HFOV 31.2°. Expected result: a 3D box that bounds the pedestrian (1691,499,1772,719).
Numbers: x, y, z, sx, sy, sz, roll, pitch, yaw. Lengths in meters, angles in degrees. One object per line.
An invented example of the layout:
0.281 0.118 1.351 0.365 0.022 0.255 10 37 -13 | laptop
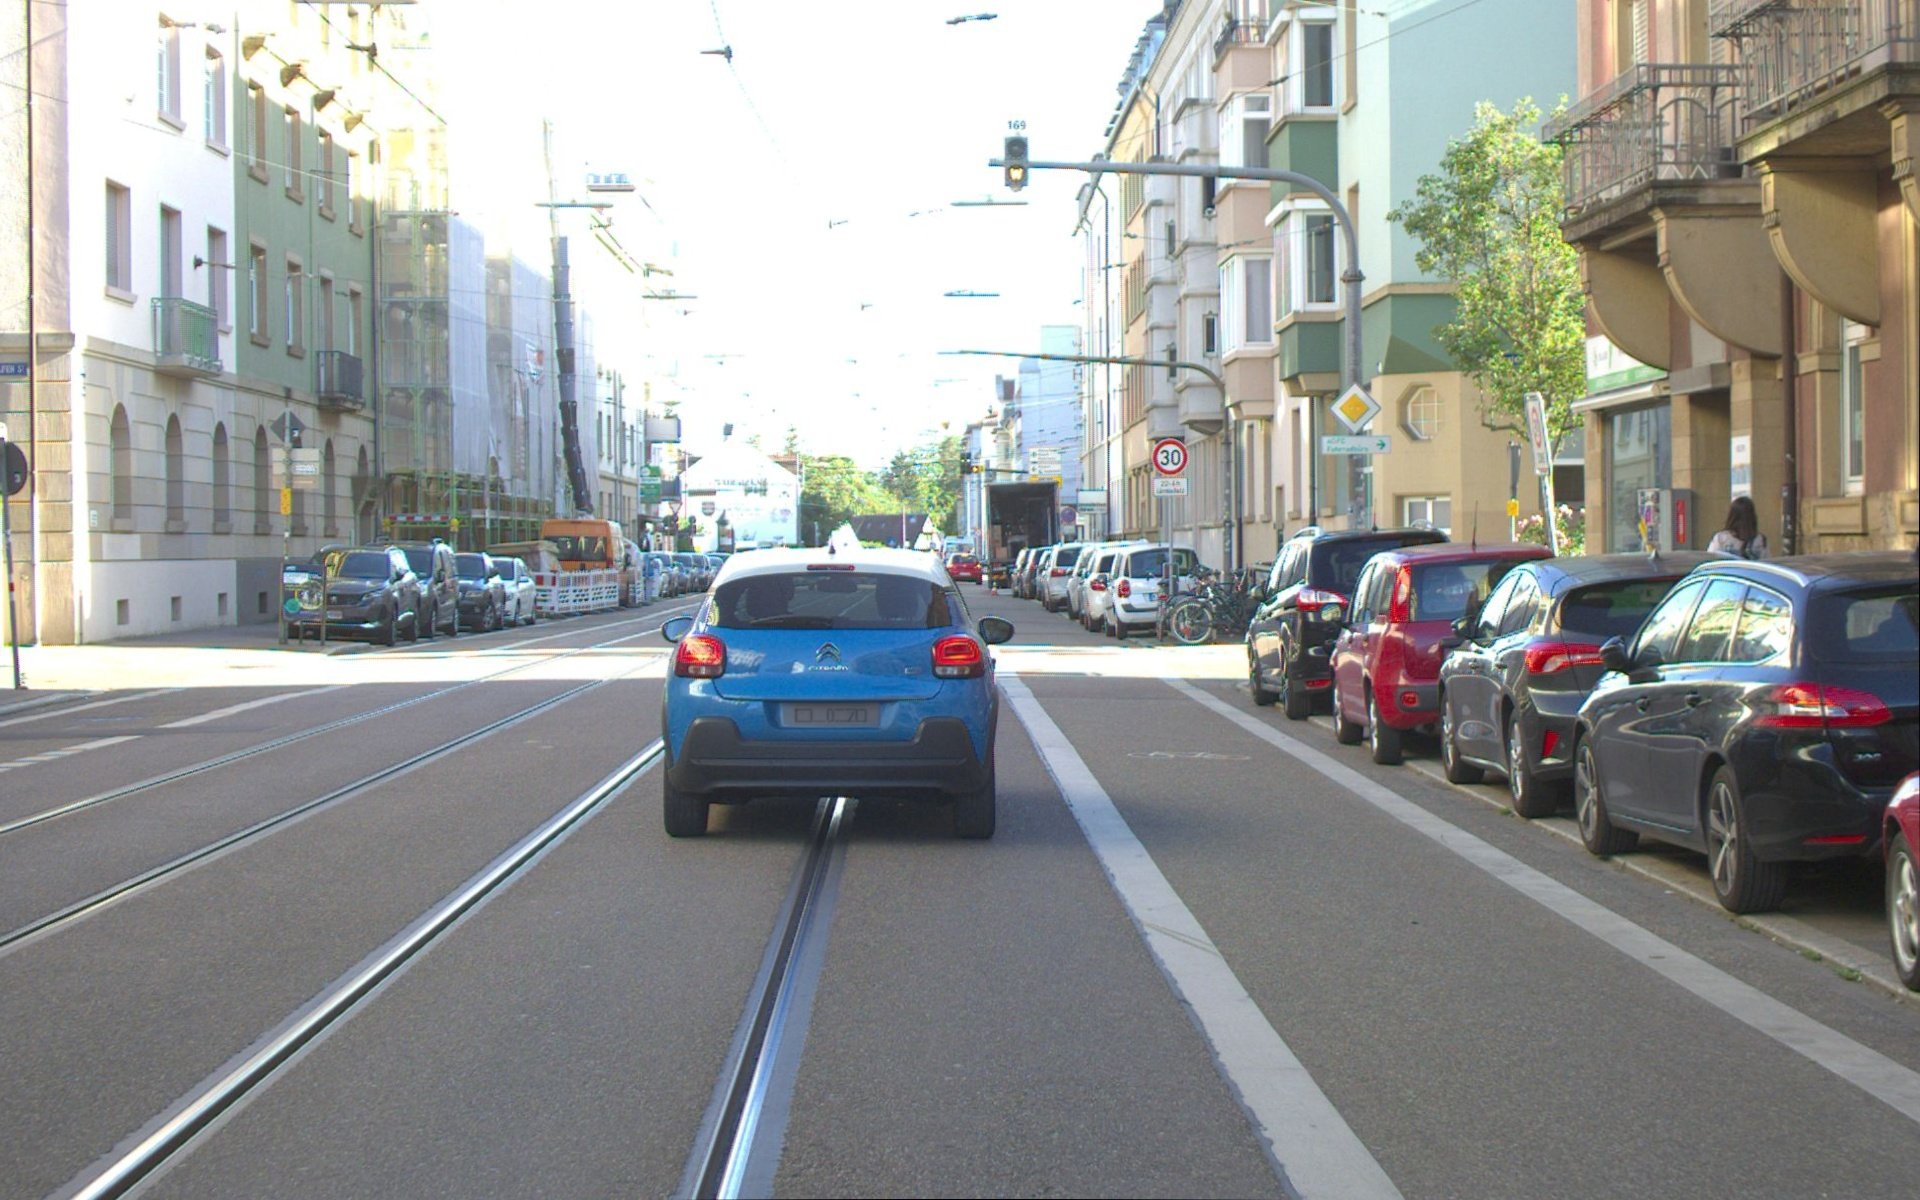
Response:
5.940 0.067 26.478 0.513 1.681 0.448 0 1 -1 | pedestrian

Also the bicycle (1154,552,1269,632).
3.982 -0.128 54.467 1.722 1.150 0.469 -4 1 0 | bicycle

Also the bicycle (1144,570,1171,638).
3.113 0.052 54.267 0.353 1.041 1.728 0 1 1 | bicycle

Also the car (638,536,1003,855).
-0.692 0.433 18.720 1.735 1.502 3.992 2 1 0 | car

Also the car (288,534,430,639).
-10.309 -0.266 59.204 1.783 1.684 4.668 2 1 -3 | car

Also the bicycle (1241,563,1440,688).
3.909 0.255 35.347 1.959 1.223 0.527 -1 1 0 | bicycle

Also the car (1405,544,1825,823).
3.839 0.416 20.852 1.654 1.508 4.474 0 1 -1 | car

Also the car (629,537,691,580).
-11.745 -1.626 134.743 2.144 1.616 4.000 -1 1 -1 | car

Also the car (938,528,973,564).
-0.310 -3.483 222.238 2.220 2.276 4.084 0 1 0 | car

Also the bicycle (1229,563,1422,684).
3.872 0.241 36.479 1.959 1.223 0.527 -1 1 0 | bicycle

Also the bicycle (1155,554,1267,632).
4.064 -0.122 55.715 1.722 1.150 0.469 -4 1 0 | bicycle

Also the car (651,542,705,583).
-11.508 -1.550 140.521 1.826 1.626 4.849 0 1 0 | car

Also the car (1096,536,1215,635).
3.324 -0.275 59.128 1.783 1.626 4.000 0 1 0 | car

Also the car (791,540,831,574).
-7.388 -2.125 170.613 1.826 1.626 4.490 0 1 0 | car

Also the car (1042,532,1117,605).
3.037 -0.822 88.017 1.730 1.821 4.686 0 1 0 | car

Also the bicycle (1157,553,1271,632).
4.061 -0.115 55.088 1.722 1.150 0.469 -4 1 0 | bicycle

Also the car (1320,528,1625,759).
3.730 0.268 25.573 1.753 1.589 3.730 0 1 1 | car

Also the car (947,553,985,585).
0.264 -1.475 163.378 1.765 1.481 4.032 0 1 0 | car

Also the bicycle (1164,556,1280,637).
4.093 -0.053 53.787 1.722 1.150 0.469 -4 1 0 | bicycle

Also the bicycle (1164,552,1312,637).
4.139 -0.080 51.318 2.086 1.150 0.848 -3 1 0 | bicycle

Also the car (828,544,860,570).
-7.307 -2.724 217.044 1.826 1.626 4.490 0 1 0 | car

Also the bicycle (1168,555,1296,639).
4.111 -0.049 52.002 1.842 1.150 0.469 -4 1 0 | bicycle

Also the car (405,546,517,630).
-10.220 -0.275 70.655 1.783 1.621 4.610 2 1 -3 | car

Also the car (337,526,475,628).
-10.385 -0.453 64.700 1.783 1.810 4.528 2 1 0 | car

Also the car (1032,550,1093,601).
3.062 -0.751 103.501 1.664 1.514 4.222 0 1 0 | car

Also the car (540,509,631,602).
-10.184 -1.231 93.760 2.144 2.467 4.981 0 1 -3 | car

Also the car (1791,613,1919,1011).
3.918 0.707 10.803 1.654 1.245 4.505 0 1 2 | car

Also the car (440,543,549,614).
-10.374 -0.503 76.869 1.718 1.497 4.388 2 1 1 | car

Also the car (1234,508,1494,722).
3.622 0.093 31.540 1.753 1.730 4.507 -3 1 0 | car

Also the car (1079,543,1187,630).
3.225 -0.283 64.811 1.783 1.570 4.326 0 1 0 | car

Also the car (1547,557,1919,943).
3.932 0.554 15.583 1.654 1.478 4.475 0 1 -2 | car

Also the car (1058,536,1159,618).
3.245 -0.528 76.035 1.654 1.746 4.604 -1 1 -5 | car

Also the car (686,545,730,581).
-11.753 -1.724 160.595 1.826 1.626 3.905 0 1 -1 | car

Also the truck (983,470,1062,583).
2.318 -2.726 130.045 2.853 4.069 11.271 0 1 1 | truck
